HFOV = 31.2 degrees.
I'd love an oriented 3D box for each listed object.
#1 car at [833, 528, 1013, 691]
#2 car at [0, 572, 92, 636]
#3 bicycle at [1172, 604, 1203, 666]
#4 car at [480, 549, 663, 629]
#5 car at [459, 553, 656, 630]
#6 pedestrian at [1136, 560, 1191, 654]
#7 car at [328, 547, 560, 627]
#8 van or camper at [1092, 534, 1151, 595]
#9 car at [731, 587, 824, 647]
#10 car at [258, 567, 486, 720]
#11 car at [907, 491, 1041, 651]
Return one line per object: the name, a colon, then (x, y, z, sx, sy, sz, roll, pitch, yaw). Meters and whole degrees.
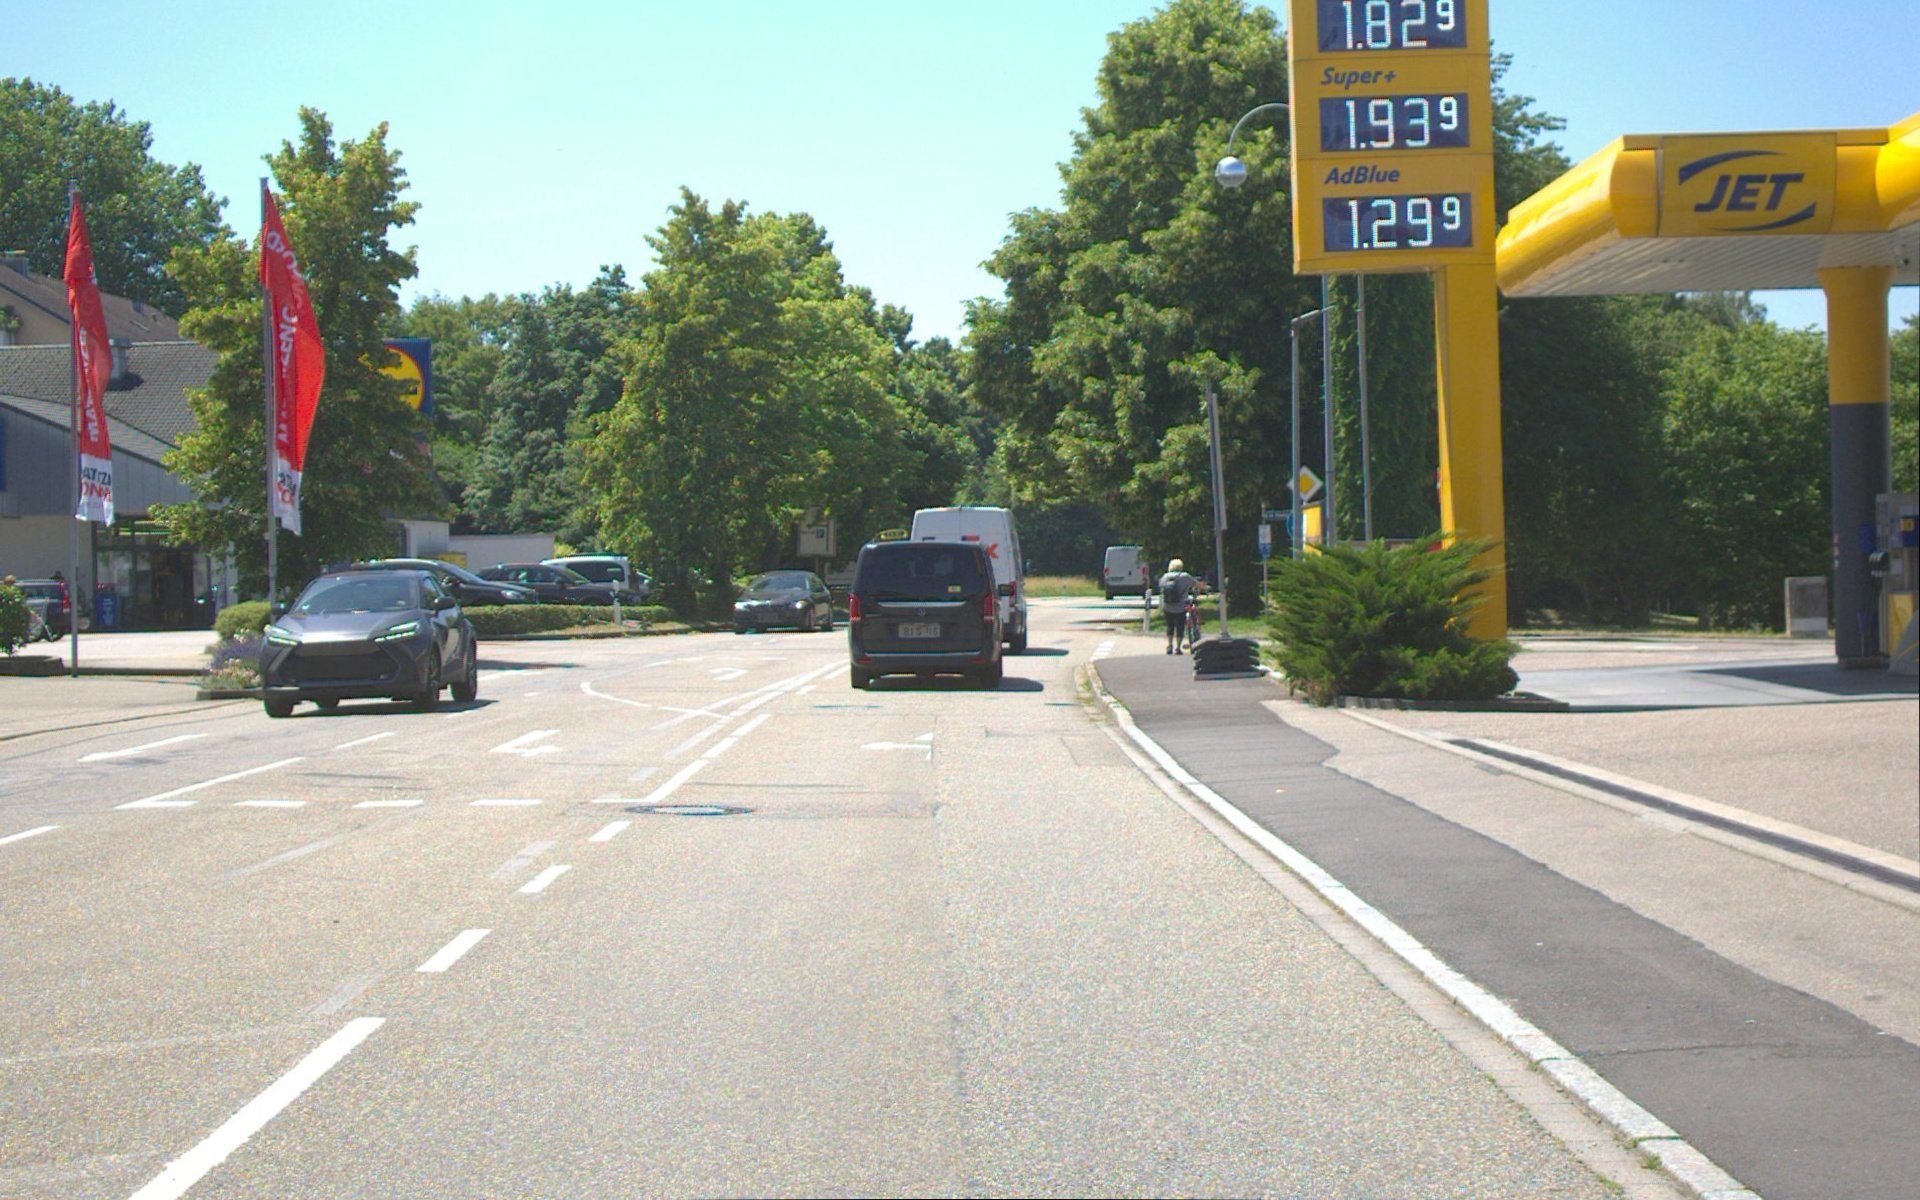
car: (-0.413, 0.102, 44.472, 1.994, 1.946, 5.004, 1, 0, 3)
car: (-23.296, 0.086, 82.801, 4.312, 1.525, 1.828, 0, 0, 0)
bicycle: (3.444, 0.522, 51.921, 0.378, 0.909, 1.597, 0, 1, 7)
car: (-9.778, -0.277, 86.750, 4.356, 1.973, 1.905, 0, 0, 1)
car: (-9.819, -0.209, 84.032, 4.387, 1.839, 2.102, 0, 0, 10)
pedestrian: (3.100, 0.105, 52.277, 0.769, 1.416, 0.868, 0, 0, 7)
car: (-11.466, -0.280, 76.588, 4.709, 1.756, 2.098, 0, 0, 8)
van or camper: (7.916, -1.722, 169.005, 2.631, 2.919, 5.206, 0, 0, 0)
car: (-4.329, 0.403, 82.161, 1.932, 1.396, 4.689, 0, 0, 1)
car: (-6.403, 0.432, 37.821, 1.762, 1.522, 4.138, -2, 1, 0)
car: (0.294, -0.516, 61.165, 2.078, 2.693, 4.666, 1, 0, 3)
